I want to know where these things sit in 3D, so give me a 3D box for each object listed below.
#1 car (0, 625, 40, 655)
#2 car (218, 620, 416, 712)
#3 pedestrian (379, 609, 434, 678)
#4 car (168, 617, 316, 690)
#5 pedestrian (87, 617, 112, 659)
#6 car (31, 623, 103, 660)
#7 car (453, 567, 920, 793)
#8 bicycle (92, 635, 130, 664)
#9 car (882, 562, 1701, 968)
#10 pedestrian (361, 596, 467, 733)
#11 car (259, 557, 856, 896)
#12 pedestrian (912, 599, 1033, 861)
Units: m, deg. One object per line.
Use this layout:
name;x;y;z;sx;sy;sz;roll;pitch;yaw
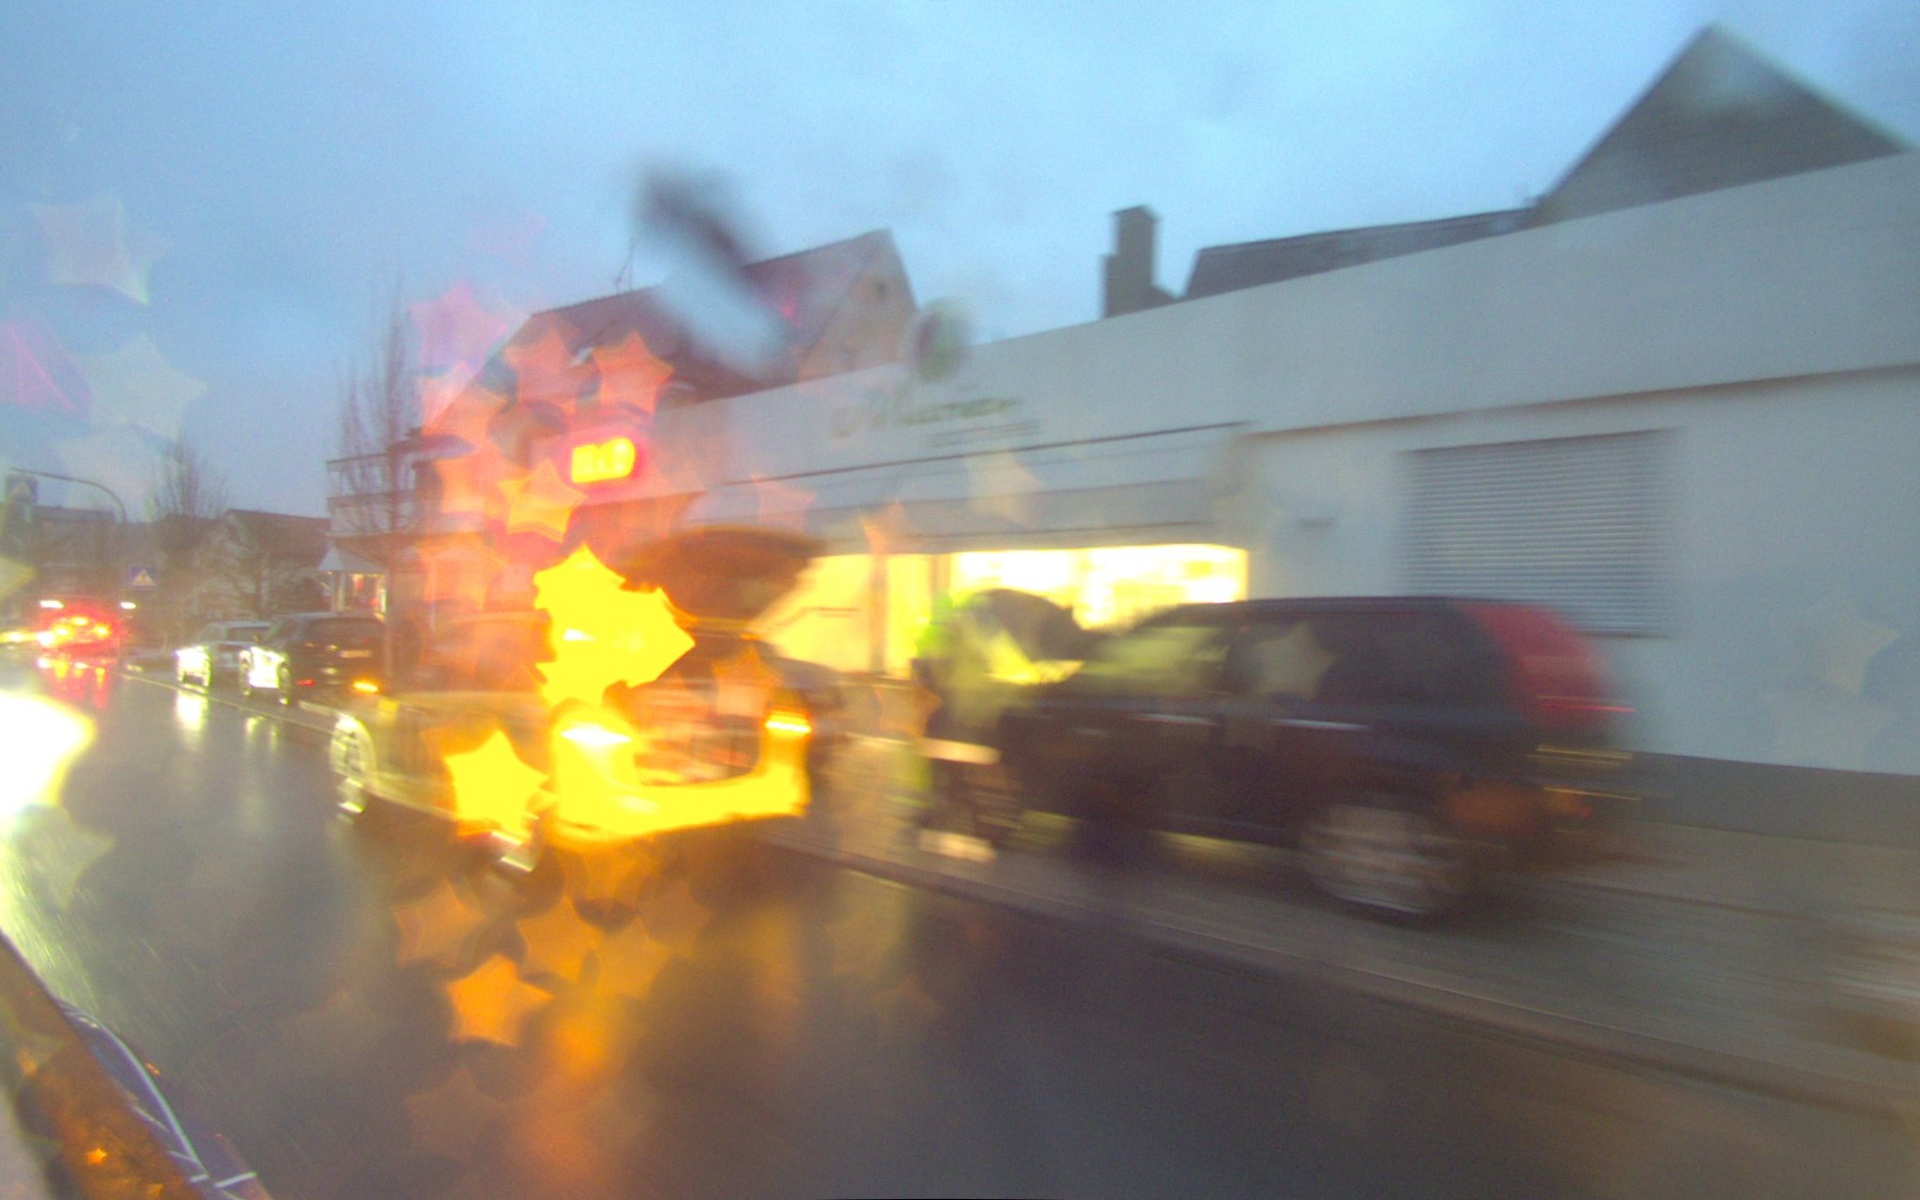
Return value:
car;-48.147;1.993;51.293;4.373;1.442;1.677;-1;-1;40
car;-12.534;1.170;19.574;4.976;1.534;1.972;-1;-2;42
pedestrian;-13.749;1.059;25.150;1.096;1.671;0.818;-1;-1;37
car;-17.295;1.200;24.302;4.620;1.570;1.972;-1;-1;42
pedestrian;-42.608;1.886;50.088;0.889;2.029;0.792;1;-2;-41
car;-39.186;1.786;44.369;4.179;1.500;1.766;-1;-1;40
car;-2.997;0.705;10.471;5.016;1.806;2.066;-2;-2;38
bicycle;-32.173;1.889;38.335;1.735;1.069;0.322;-2;-7;26
car;1.804;0.728;6.565;4.710;1.723;1.861;-1;-1;41
pedestrian;-7.785;0.898;14.470;0.998;1.890;0.943;0;-1;-1
car;-3.232;0.717;7.501;4.962;1.718;1.973;-3;-1;40
pedestrian;0.081;0.810;6.585;0.575;1.597;0.523;-3;-3;39
